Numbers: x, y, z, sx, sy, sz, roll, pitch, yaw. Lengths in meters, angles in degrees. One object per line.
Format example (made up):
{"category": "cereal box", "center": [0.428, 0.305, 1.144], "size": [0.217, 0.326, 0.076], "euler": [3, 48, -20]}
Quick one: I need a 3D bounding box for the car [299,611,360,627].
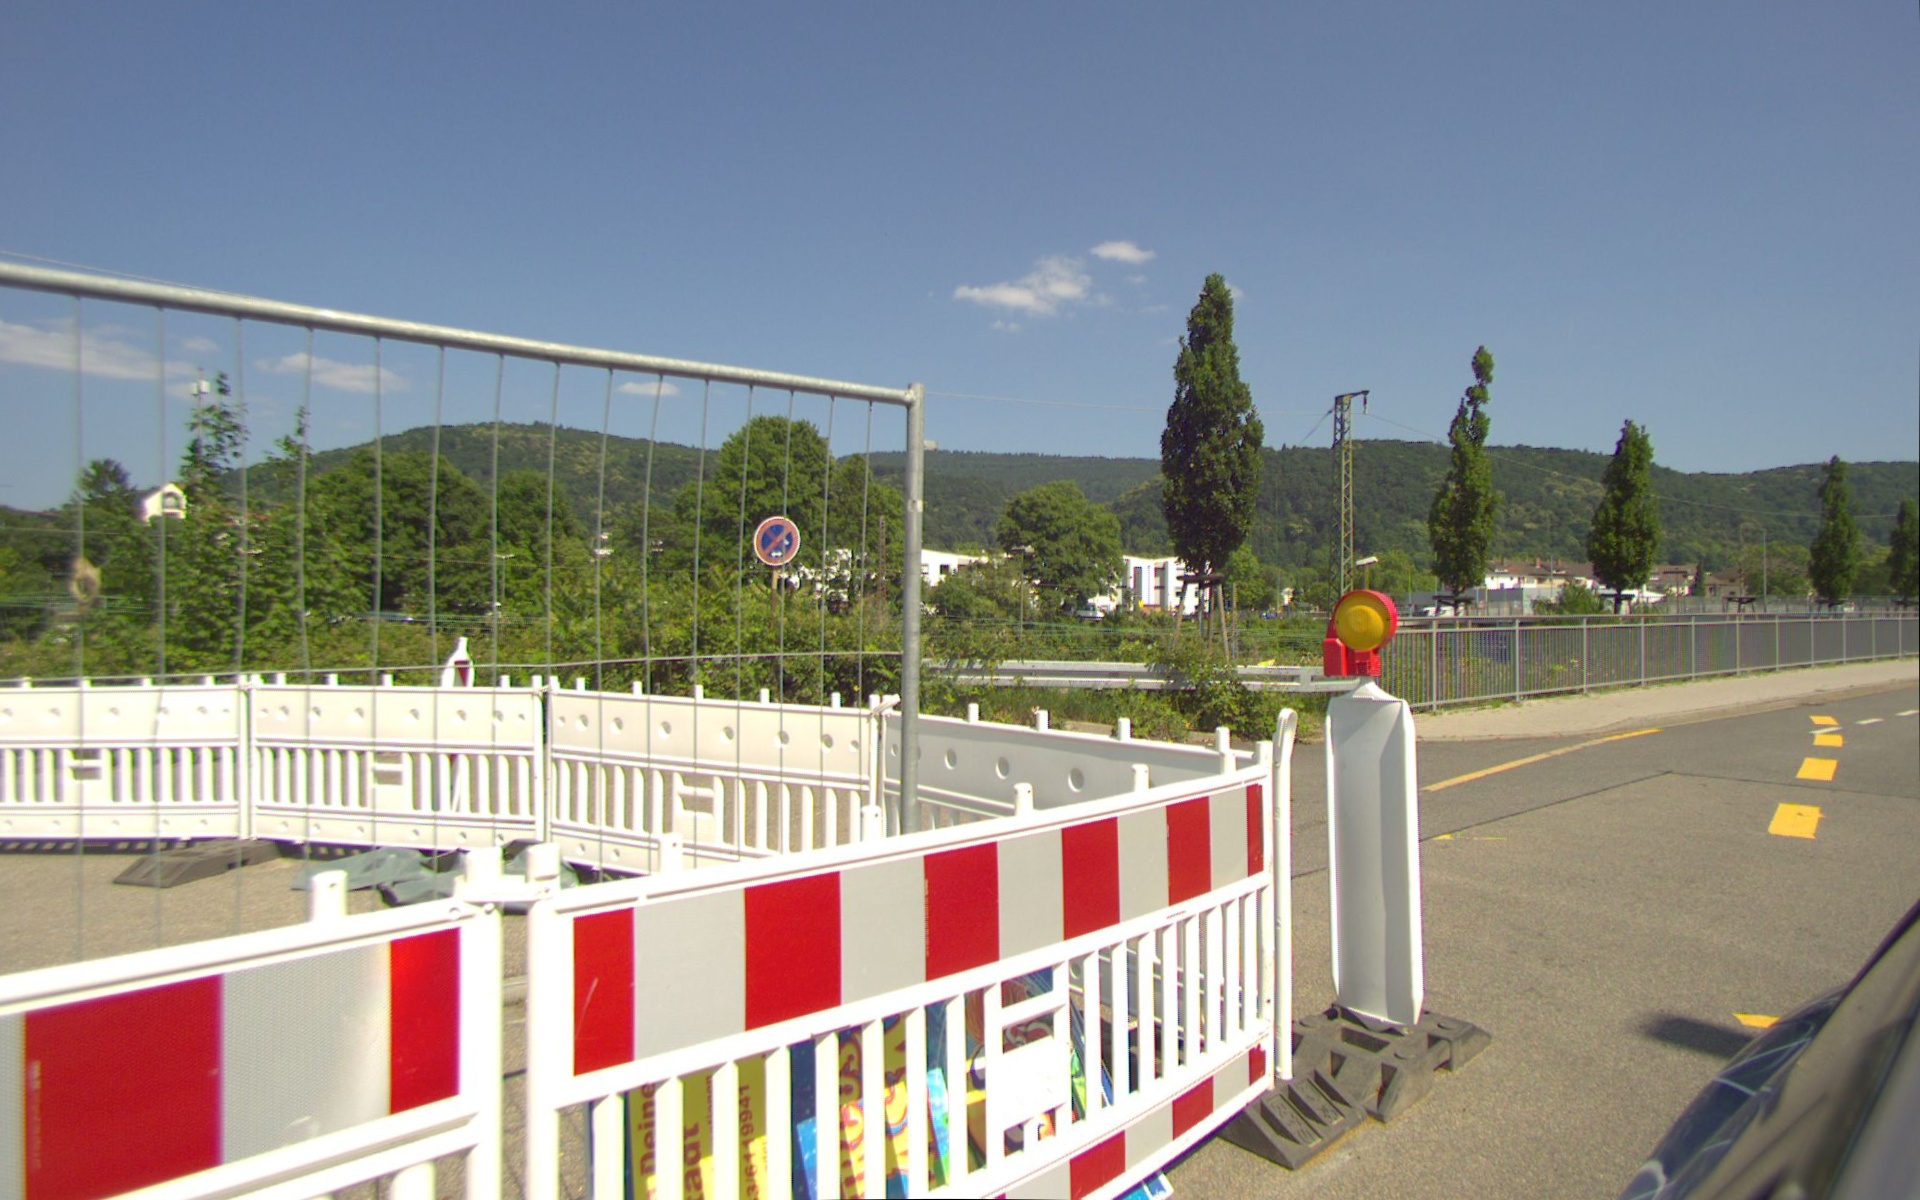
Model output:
{"category": "car", "center": [-55.782, 1.685, 89.611], "size": [4.229, 1.384, 1.867], "euler": [0, -1, -5]}

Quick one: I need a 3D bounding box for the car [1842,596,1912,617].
{"category": "car", "center": [81.352, 0.582, 89.841], "size": [1.795, 1.647, 4.375], "euler": [-3, 0, -7]}

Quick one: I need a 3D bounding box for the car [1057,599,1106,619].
{"category": "car", "center": [14.463, 1.052, 120.362], "size": [5.405, 2.130, 2.137], "euler": [-1, -5, -24]}

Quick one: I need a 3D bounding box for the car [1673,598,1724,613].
{"category": "car", "center": [78.619, 0.610, 107.785], "size": [1.795, 1.510, 4.376], "euler": [-3, 0, -7]}

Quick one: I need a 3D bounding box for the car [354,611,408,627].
{"category": "car", "center": [-51.468, 1.675, 89.980], "size": [3.765, 1.384, 1.785], "euler": [0, -1, -7]}

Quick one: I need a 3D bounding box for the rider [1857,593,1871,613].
{"category": "rider", "center": [84.051, 0.269, 94.088], "size": [0.537, 1.836, 0.686], "euler": [-3, -1, -7]}
